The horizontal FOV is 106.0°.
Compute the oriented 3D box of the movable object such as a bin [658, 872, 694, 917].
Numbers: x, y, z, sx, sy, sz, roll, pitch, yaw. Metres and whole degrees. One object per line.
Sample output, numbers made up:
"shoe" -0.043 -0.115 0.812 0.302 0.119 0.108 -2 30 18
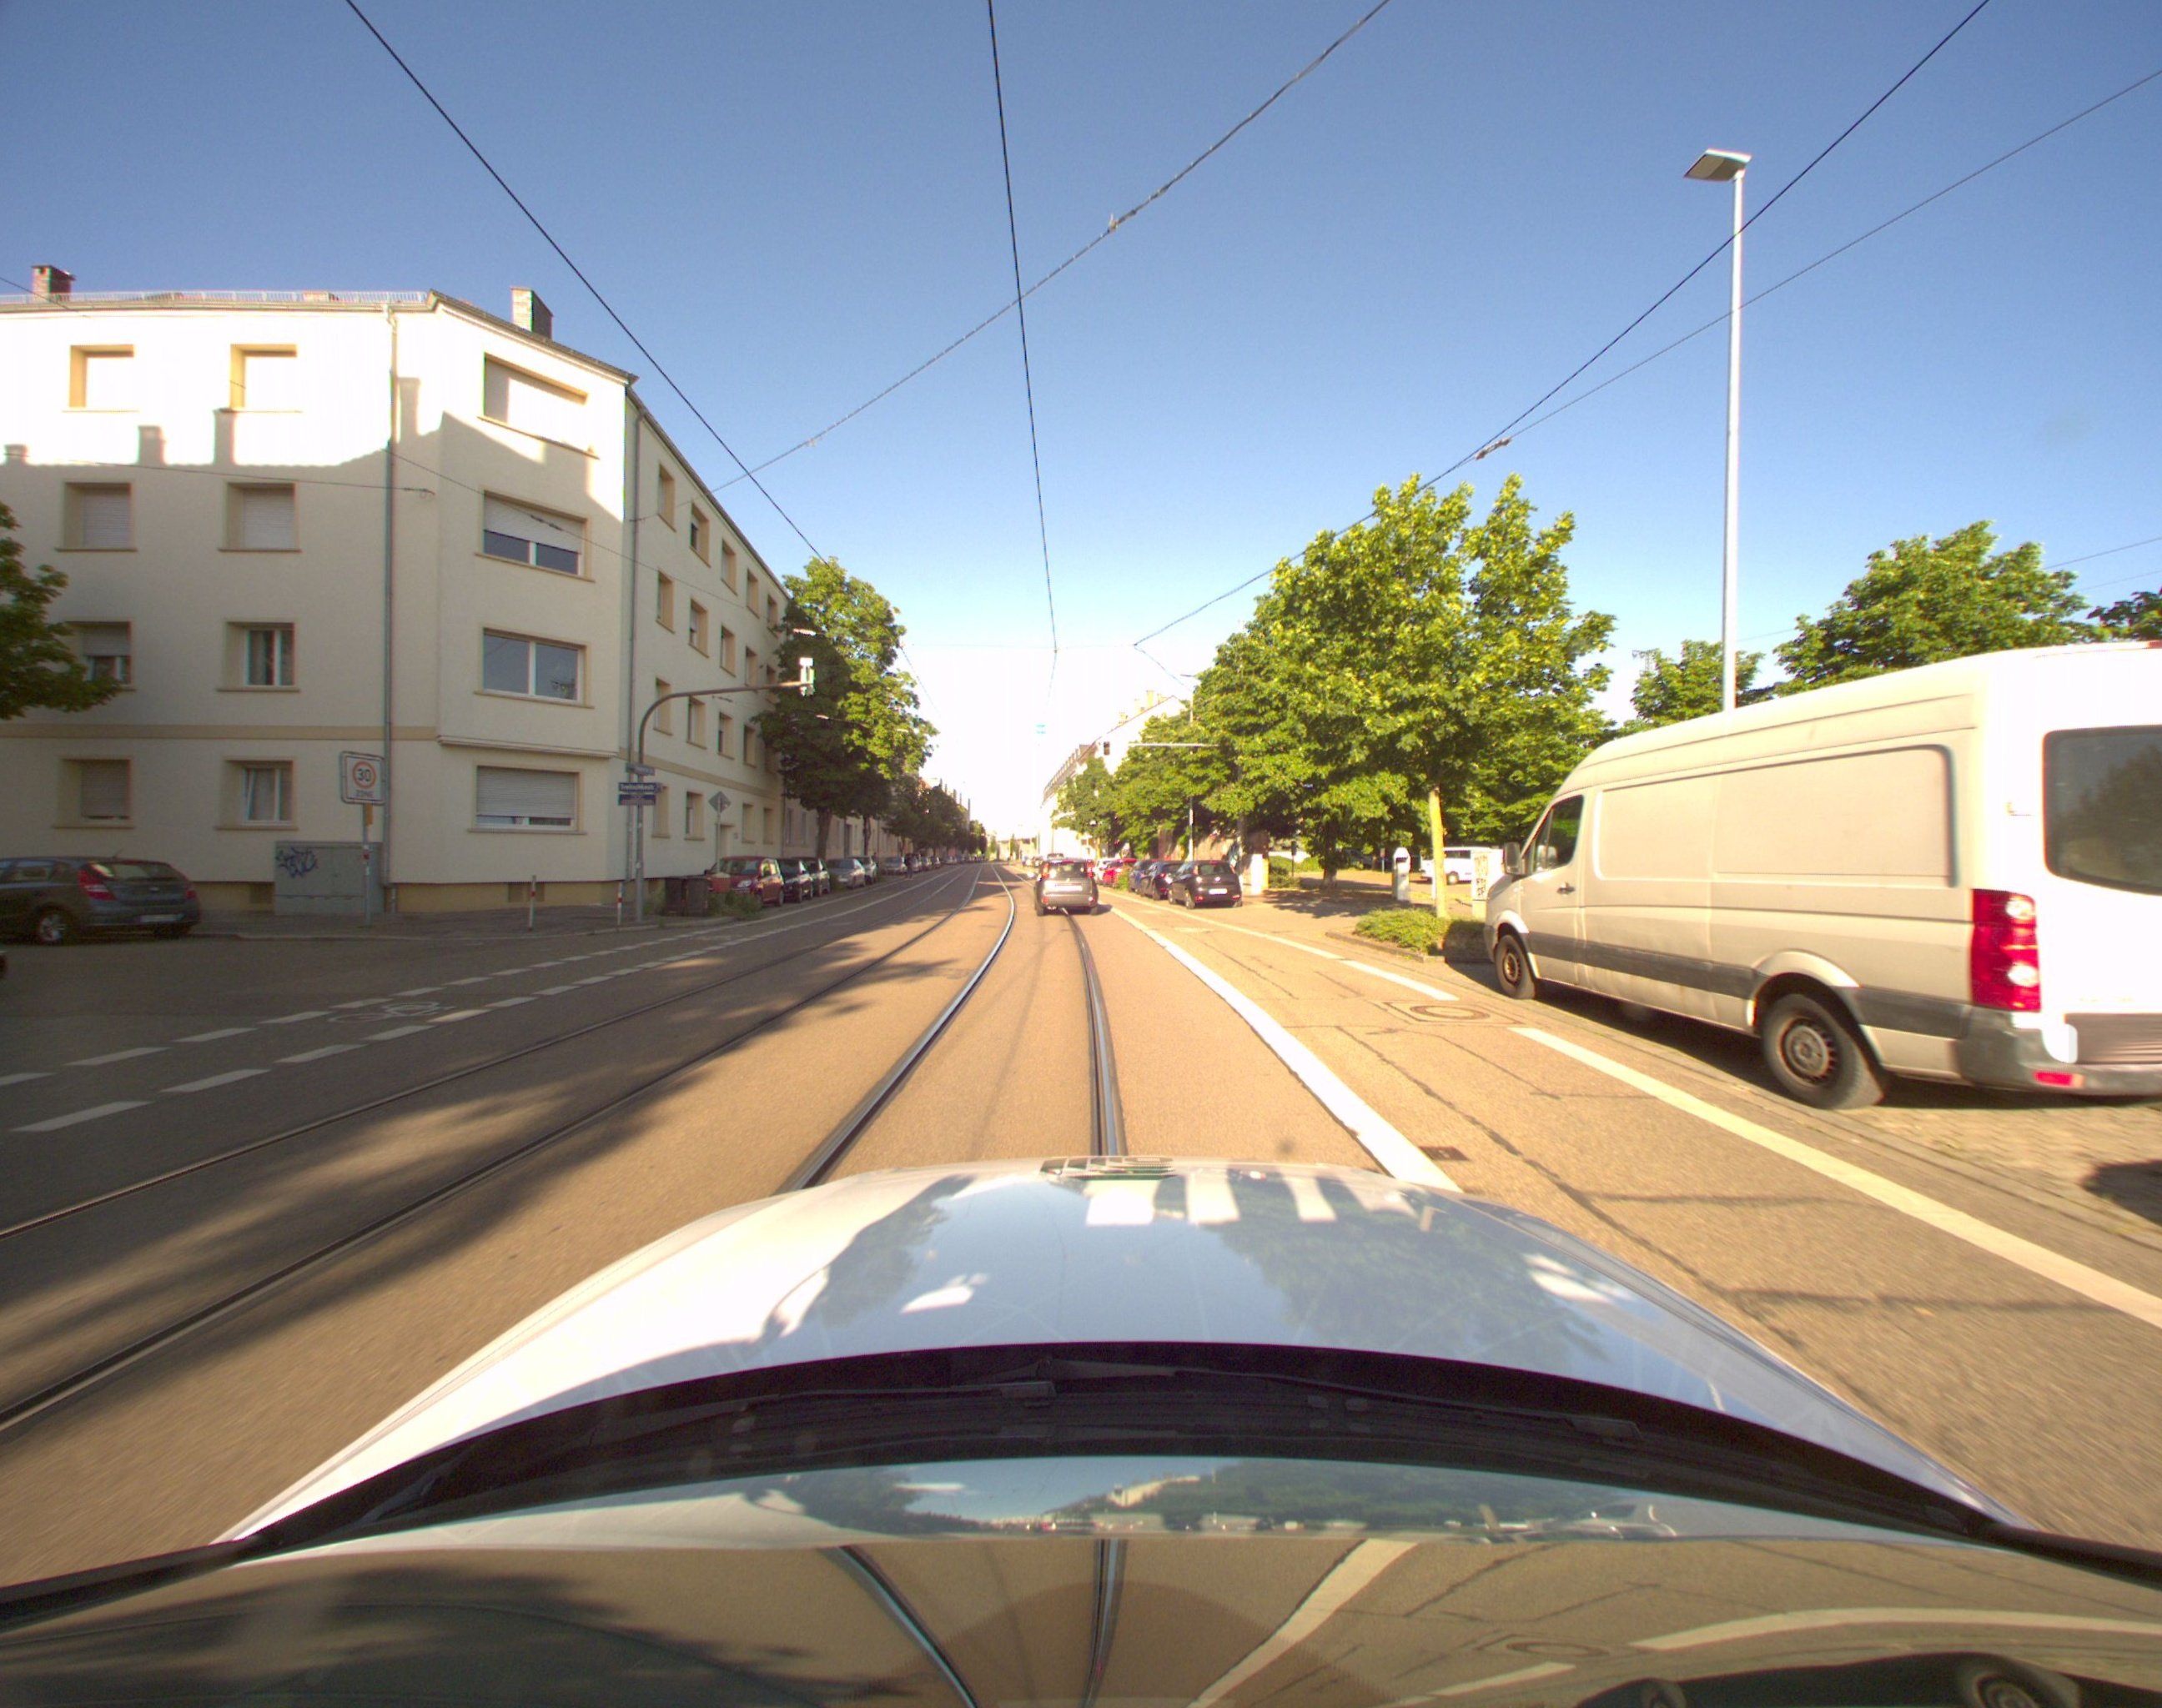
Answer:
"movable object such as a bin" -9.312 0.923 18.737 0.484 0.987 0.659 2 -1 -4

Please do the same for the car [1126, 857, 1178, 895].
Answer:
"car" 3.046 0.917 35.518 1.685 1.530 3.995 -1 0 -4

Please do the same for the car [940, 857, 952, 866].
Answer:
"car" -22.550 1.275 135.742 1.704 1.497 3.714 2 -1 -6

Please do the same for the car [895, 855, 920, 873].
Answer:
"car" -15.594 0.891 73.385 1.807 1.508 4.669 2 -1 -7

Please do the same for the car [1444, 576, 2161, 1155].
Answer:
"car" 5.436 0.059 6.815 2.172 2.666 6.093 -2 -1 2

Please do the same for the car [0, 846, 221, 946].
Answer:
"car" -17.825 0.663 14.006 3.973 1.530 1.907 2 -1 1

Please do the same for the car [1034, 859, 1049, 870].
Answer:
"car" -5.164 1.374 106.446 1.582 1.405 3.367 -3 0 -8

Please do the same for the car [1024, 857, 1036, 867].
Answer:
"car" -8.263 1.262 131.551 1.582 1.599 3.367 2 -1 -8

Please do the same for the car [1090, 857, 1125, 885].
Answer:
"car" 1.511 0.982 48.056 1.685 1.530 3.995 -1 0 -4

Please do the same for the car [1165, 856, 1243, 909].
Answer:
"car" 3.861 0.863 26.257 1.685 1.530 3.995 -1 0 -4

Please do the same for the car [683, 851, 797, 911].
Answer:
"car" -9.702 0.727 23.517 1.685 1.530 3.995 3 -1 -3

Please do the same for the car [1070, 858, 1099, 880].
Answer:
"car" 0.187 1.039 57.741 1.633 1.508 3.389 -2 0 -7

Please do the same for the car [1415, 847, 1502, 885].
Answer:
"car" 20.282 0.648 43.796 3.904 1.861 1.803 2 -1 -8

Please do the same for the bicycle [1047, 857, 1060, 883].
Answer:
"bicycle" -1.927 1.079 56.594 0.674 1.747 2.152 2 -1 -8

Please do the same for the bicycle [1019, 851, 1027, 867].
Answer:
"bicycle" -7.657 0.691 107.650 0.741 2.014 2.804 2 -1 -7

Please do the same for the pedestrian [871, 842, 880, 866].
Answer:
"pedestrian" -16.077 0.005 63.658 0.536 1.826 0.541 2 -1 -7

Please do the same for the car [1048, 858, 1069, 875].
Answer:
"car" -2.244 1.220 80.306 1.654 1.571 3.866 2 -1 -7

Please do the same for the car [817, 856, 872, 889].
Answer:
"car" -11.524 0.880 39.954 1.686 1.475 4.651 2 -1 -5

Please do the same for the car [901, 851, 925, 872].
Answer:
"car" -16.232 0.701 78.923 1.807 1.943 4.323 2 -1 -7

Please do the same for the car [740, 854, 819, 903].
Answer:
"car" -10.309 0.790 28.076 1.786 1.530 3.845 2 -1 -9

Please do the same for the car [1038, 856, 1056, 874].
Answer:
"car" -3.838 1.176 91.049 1.654 1.944 4.652 2 -1 -7

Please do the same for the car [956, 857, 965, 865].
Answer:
"car" -24.289 1.372 164.213 1.704 1.497 3.714 2 -1 -6

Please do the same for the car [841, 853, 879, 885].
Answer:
"car" -12.322 0.825 45.534 1.652 1.668 4.280 2 -1 -11

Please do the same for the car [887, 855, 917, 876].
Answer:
"car" -13.894 0.897 63.279 1.807 1.508 4.181 2 -1 -7

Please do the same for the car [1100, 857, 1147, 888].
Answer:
"car" 2.175 0.951 42.755 1.688 1.530 3.987 -1 0 -9

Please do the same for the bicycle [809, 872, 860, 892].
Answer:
"bicycle" -11.055 1.271 36.525 2.126 0.825 0.476 2 -1 -8

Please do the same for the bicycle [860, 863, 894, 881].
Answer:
"bicycle" -12.410 1.093 49.540 1.922 1.046 0.475 2 -1 -6

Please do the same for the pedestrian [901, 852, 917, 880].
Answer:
"pedestrian" -11.195 0.763 52.868 0.854 1.777 0.729 -1 0 -27

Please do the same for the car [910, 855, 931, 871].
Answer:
"car" -16.926 0.983 86.227 1.807 1.619 4.054 2 -1 -7

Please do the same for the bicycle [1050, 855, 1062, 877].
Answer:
"bicycle" -1.979 0.956 65.076 0.674 1.747 2.152 2 -1 -8

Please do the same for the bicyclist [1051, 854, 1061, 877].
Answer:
"bicyclist" -1.978 0.915 65.059 0.698 1.759 0.755 2 -1 -8

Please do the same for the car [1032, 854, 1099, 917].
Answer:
"car" -0.486 0.810 22.693 1.646 1.541 4.230 -2 0 -3

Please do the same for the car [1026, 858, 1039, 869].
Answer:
"car" -7.423 1.422 124.554 1.582 1.599 3.367 2 -1 -8

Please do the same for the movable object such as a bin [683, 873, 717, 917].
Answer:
"movable object such as a bin" -8.781 0.939 18.775 0.484 0.987 0.659 2 -1 -4

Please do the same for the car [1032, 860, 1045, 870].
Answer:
"car" -6.210 1.535 117.731 1.582 1.405 3.367 2 -1 -8

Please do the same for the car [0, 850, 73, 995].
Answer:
"car" -12.864 0.639 7.878 3.875 1.458 1.768 2 -1 -1

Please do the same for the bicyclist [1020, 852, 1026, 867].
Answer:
"bicyclist" -7.648 0.717 107.641 0.714 2.014 0.829 2 -1 -8

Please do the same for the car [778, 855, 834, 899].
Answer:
"car" -10.815 0.876 32.249 1.592 1.614 3.717 2 -1 -11

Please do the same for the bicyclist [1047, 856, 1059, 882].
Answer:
"bicyclist" -1.939 1.032 56.665 0.698 1.759 0.755 2 -1 -8

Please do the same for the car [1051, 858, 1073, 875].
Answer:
"car" -1.795 1.145 75.947 1.654 1.571 3.490 2 -1 -7

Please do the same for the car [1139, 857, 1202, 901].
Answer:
"car" 3.318 0.887 30.935 1.685 1.530 4.349 -1 0 -3

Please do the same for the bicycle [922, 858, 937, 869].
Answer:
"bicycle" -18.377 1.158 98.820 1.729 1.196 0.371 2 -1 -11

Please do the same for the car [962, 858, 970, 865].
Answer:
"car" -25.388 1.615 179.956 1.704 1.497 3.714 2 -1 -6
